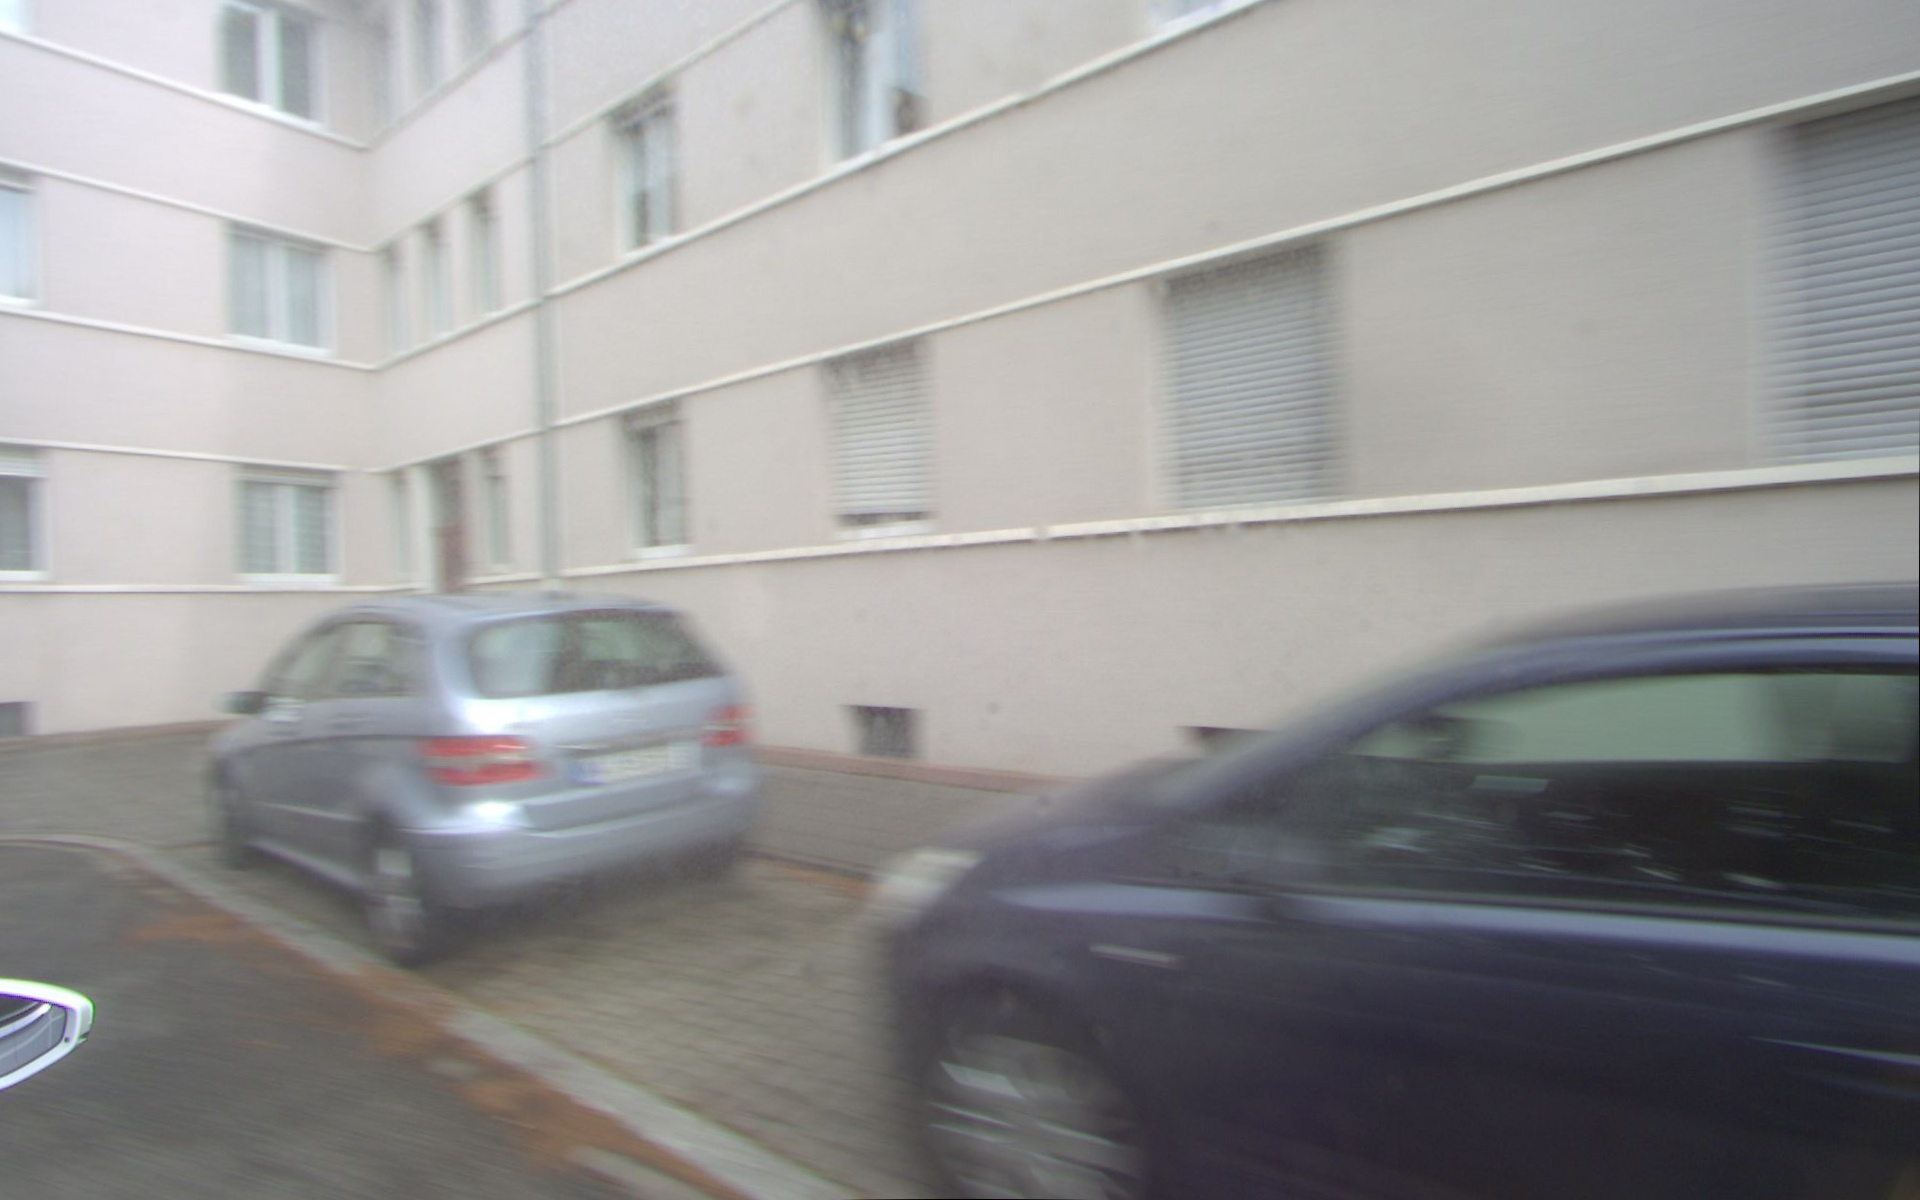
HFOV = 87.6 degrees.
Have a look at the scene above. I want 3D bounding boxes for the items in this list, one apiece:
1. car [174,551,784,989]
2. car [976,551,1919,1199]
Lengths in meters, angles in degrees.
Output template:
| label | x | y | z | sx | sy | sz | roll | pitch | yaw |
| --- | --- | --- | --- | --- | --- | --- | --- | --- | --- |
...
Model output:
| label | x | y | z | sx | sy | sz | roll | pitch | yaw |
| --- | --- | --- | --- | --- | --- | --- | --- | --- | --- |
| car | -3.024 | 0.699 | 5.822 | 4.154 | 1.649 | 1.747 | -2 | -1 | 42 |
| car | 2.096 | 0.677 | 1.808 | 3.890 | 1.509 | 1.749 | -2 | -1 | 40 |
